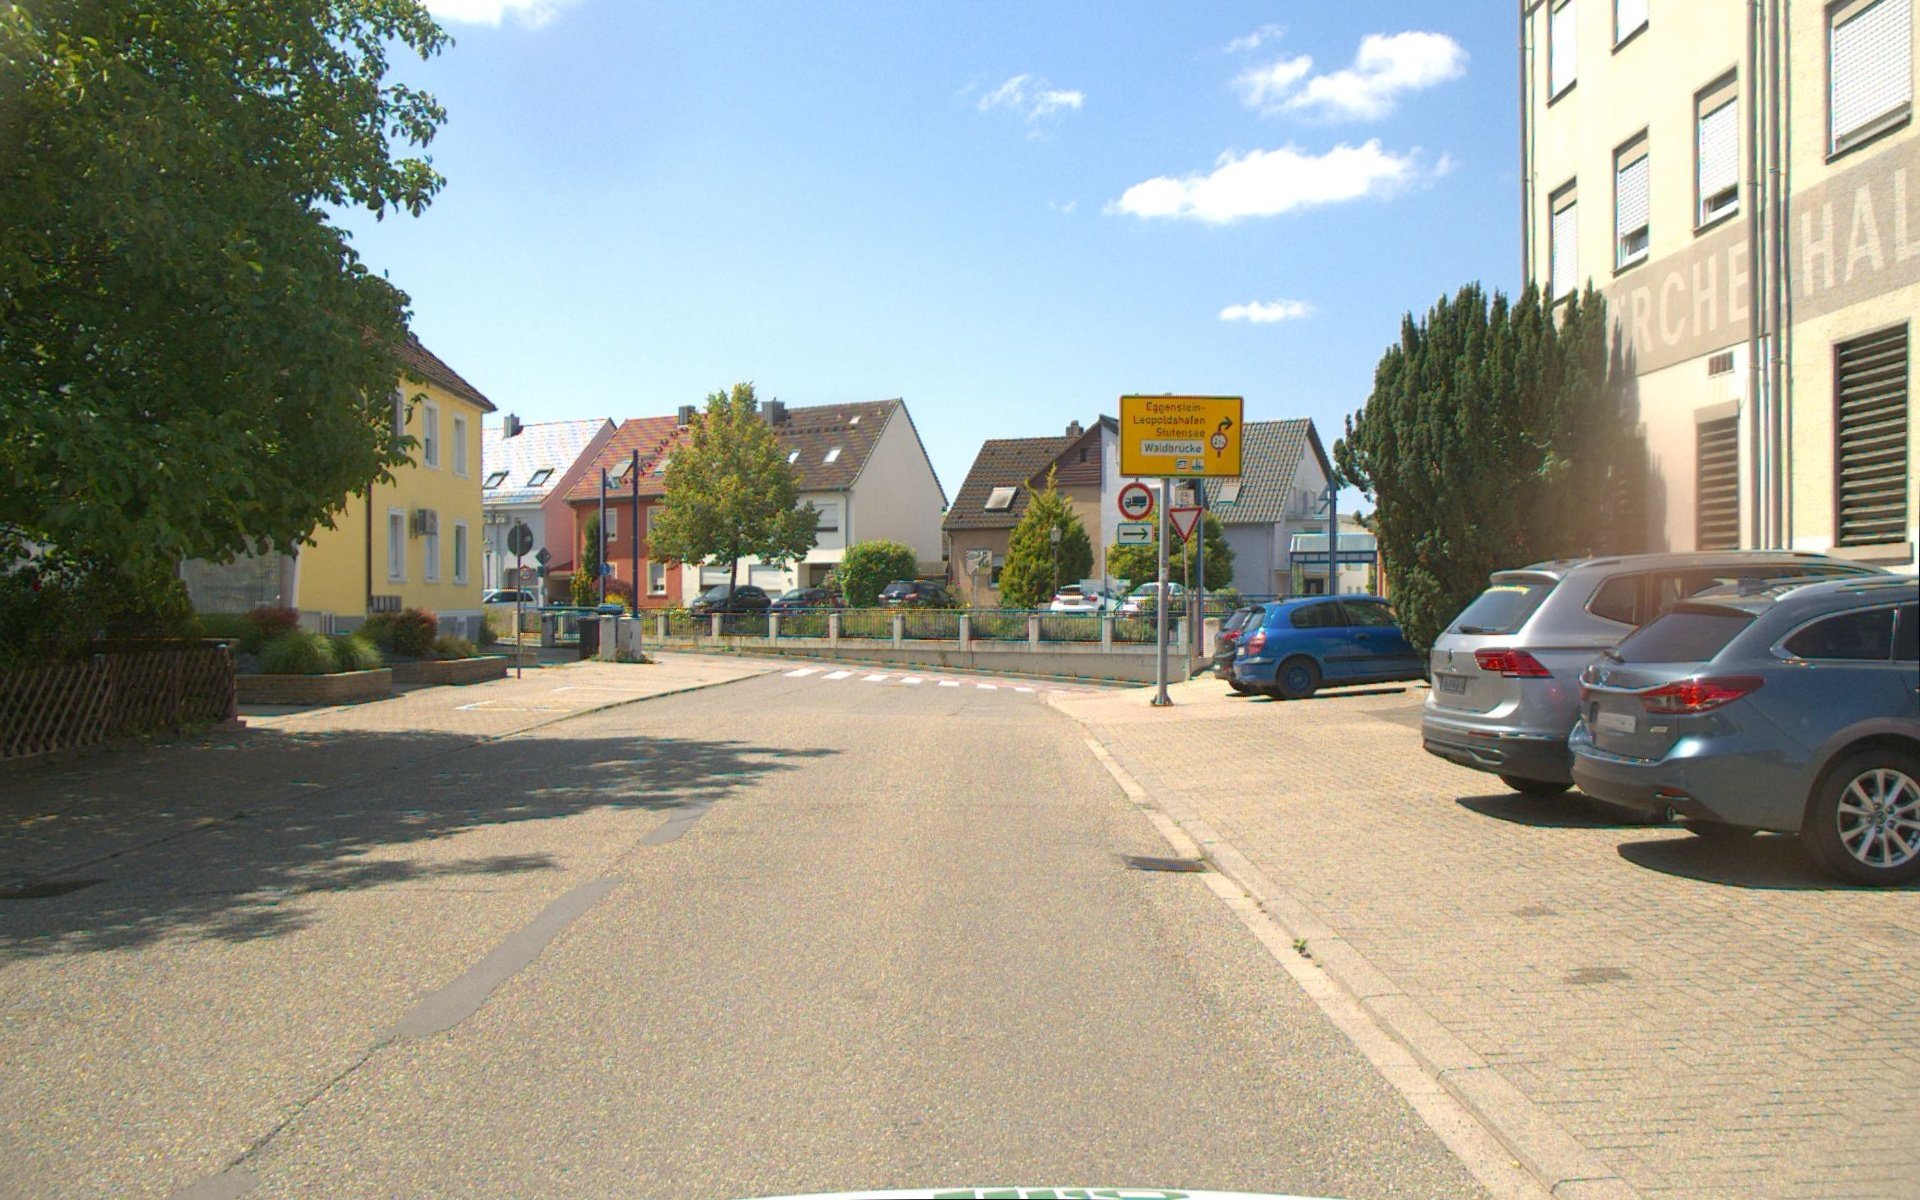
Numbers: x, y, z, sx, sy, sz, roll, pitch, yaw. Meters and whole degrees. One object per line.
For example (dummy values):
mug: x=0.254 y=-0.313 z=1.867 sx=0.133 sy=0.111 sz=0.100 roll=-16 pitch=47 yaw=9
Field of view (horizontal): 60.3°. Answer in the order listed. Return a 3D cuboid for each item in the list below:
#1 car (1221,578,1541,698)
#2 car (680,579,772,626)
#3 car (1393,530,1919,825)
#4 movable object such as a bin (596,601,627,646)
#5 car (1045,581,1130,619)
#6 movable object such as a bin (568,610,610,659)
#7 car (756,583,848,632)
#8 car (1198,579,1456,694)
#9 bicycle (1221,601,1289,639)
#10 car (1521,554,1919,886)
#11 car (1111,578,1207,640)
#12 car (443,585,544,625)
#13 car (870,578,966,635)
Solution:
car: x=6.194 y=0.590 z=24.664 sx=4.236 sy=1.465 sz=1.779 roll=-3 pitch=-3 yaw=-2
car: x=-9.220 y=0.120 z=65.448 sx=1.831 sy=1.614 sz=3.606 roll=4 pitch=-1 yaw=26
car: x=5.414 y=0.446 z=11.250 sx=4.364 sy=1.727 sz=1.922 roll=-2 pitch=0 yaw=-3
movable object such as a bin: x=-9.858 y=0.662 z=46.770 sx=0.825 sy=1.235 sz=1.272 roll=1 pitch=-1 yaw=-13
car: x=4.490 y=0.018 z=57.924 sx=1.789 sy=1.037 sz=3.456 roll=4 pitch=-1 yaw=26
movable object such as a bin: x=-9.734 y=0.901 z=43.402 sx=0.867 sy=1.247 sz=0.902 roll=1 pitch=-1 yaw=1
car: x=-6.037 y=0.305 z=63.471 sx=1.831 sy=1.614 sz=3.606 roll=4 pitch=-1 yaw=26
car: x=6.132 y=0.624 z=27.929 sx=3.818 sy=1.516 sz=1.809 roll=-5 pitch=-2 yaw=-3
bicycle: x=9.324 y=0.634 z=52.295 sx=2.071 sy=1.145 sz=0.333 roll=1 pitch=0 yaw=20
car: x=5.610 y=0.521 z=8.979 sx=4.409 sy=1.546 sz=1.999 roll=-2 pitch=0 yaw=-2
car: x=6.889 y=0.328 z=56.945 sx=1.955 sy=1.828 sz=4.192 roll=4 pitch=-1 yaw=26
car: x=-20.926 y=0.248 z=74.317 sx=1.711 sy=1.514 sz=4.245 roll=4 pitch=-1 yaw=32
car: x=-1.525 y=0.265 z=61.545 sx=1.831 sy=1.828 sz=3.996 roll=4 pitch=-1 yaw=26
